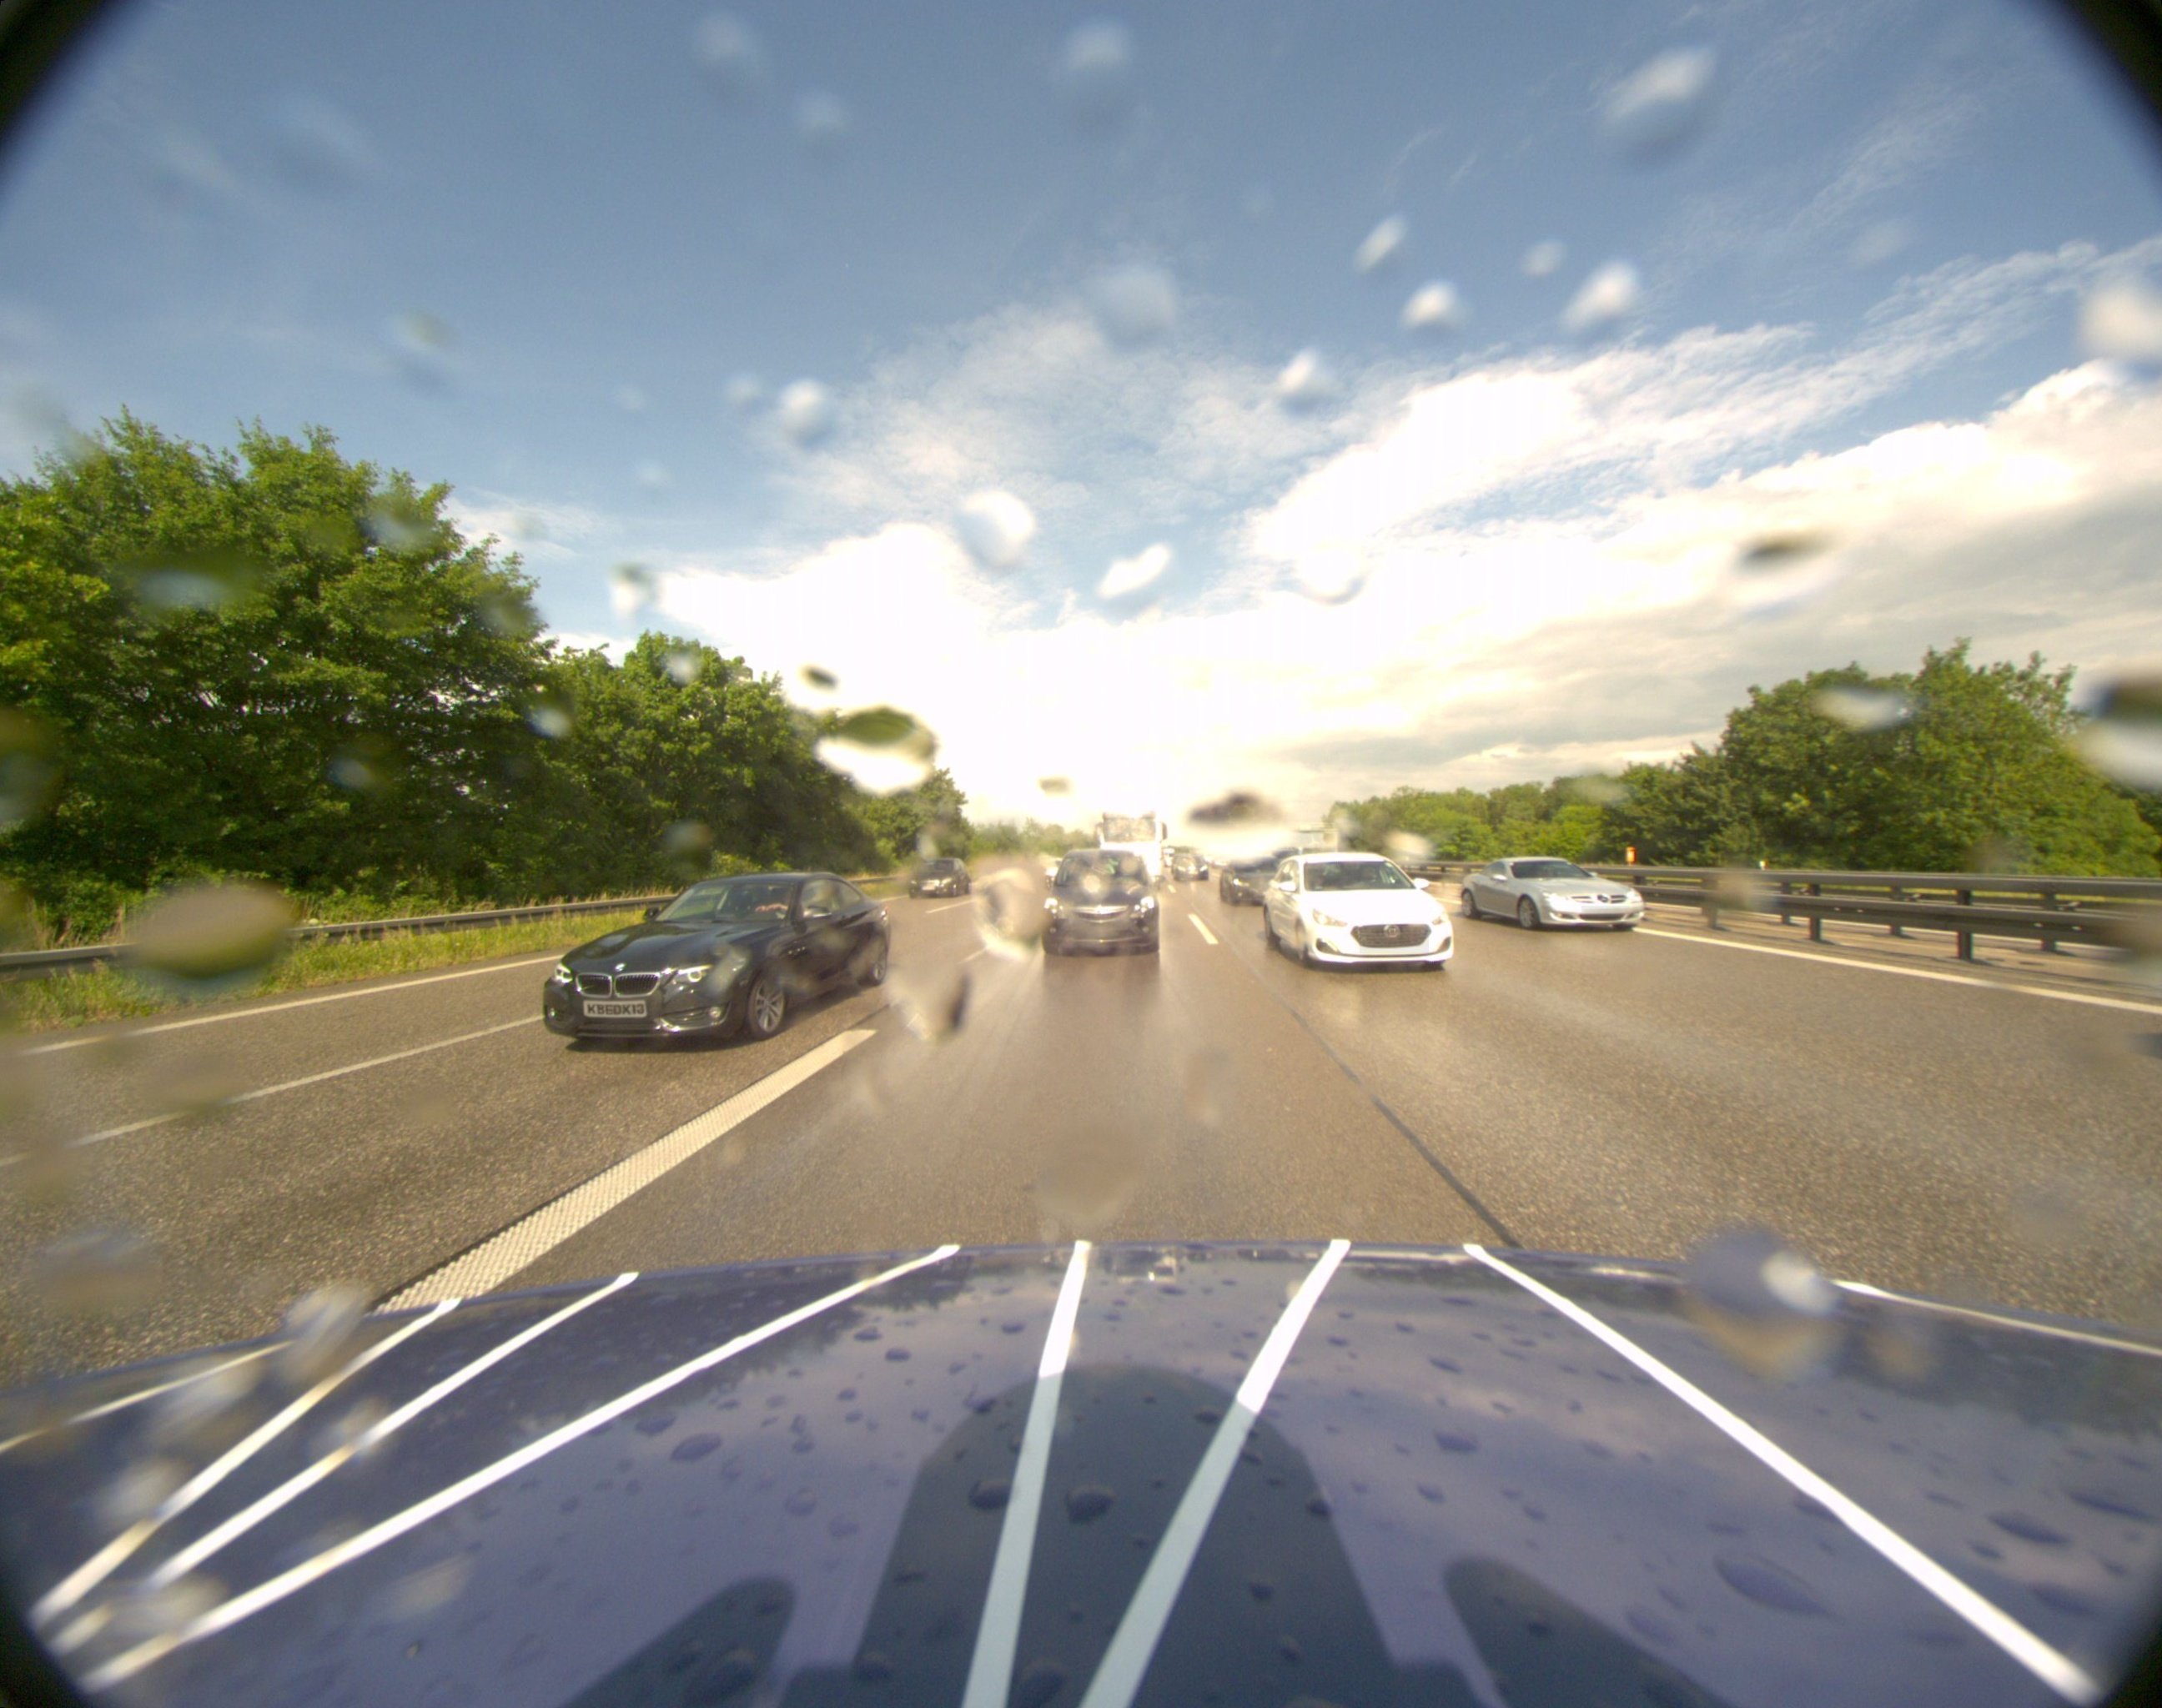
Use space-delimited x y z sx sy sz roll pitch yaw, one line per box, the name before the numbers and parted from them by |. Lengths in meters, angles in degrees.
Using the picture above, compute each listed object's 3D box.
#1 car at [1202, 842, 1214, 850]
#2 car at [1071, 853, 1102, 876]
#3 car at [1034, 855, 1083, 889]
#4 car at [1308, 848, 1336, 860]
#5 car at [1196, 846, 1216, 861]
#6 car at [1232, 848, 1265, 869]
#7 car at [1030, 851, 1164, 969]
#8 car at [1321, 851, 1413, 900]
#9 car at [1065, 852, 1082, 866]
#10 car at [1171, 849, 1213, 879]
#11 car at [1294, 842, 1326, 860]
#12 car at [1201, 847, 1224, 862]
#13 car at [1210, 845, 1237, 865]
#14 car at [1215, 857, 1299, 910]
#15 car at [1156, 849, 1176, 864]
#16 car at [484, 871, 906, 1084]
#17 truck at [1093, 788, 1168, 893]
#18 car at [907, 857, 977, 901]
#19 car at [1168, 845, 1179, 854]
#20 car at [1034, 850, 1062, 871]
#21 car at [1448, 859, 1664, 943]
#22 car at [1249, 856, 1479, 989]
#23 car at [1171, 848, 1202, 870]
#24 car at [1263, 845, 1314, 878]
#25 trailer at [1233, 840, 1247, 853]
car | 26.764 -1.699 160.134 1.998 1.768 4.462 -1 0 4
car | 0.427 0.738 57.042 1.998 1.572 4.654 -1 0 4
car | -1.021 0.812 36.836 1.830 1.417 4.512 -2 1 5
car | 30.771 0.021 97.021 2.122 1.478 5.037 -1 0 2
car | 15.594 -0.041 94.596 1.998 1.687 4.000 -3 1 4
car | 12.241 0.330 55.813 1.771 1.371 4.000 -1 1 4
car | 0.374 0.804 13.072 1.883 1.638 4.397 -1 0 4
car | 9.360 0.646 25.172 1.770 1.417 4.139 -2 1 5
car | -0.903 0.587 93.402 1.998 1.619 4.000 -1 0 1
car | 6.263 0.545 43.157 1.998 1.477 4.000 -3 1 4
car | 23.172 -0.287 76.925 1.998 1.697 4.155 -1 0 1
car | 14.529 0.012 84.160 1.998 1.471 4.000 -3 1 4
car | 13.411 0.081 71.628 1.998 1.739 4.000 -3 1 4
car | 5.048 0.783 22.321 1.728 1.330 4.288 -1 0 4
car | 9.574 0.229 86.090 1.998 1.471 4.000 -3 1 4
car | -3.443 0.982 7.891 1.852 1.455 4.257 -1 1 6
truck | 2.315 -0.570 33.802 2.816 4.083 7.448 -2 1 6
car | -5.558 0.960 30.892 1.852 1.559 4.001 -1 1 4
car | 18.576 -0.971 152.728 1.998 1.687 4.000 -3 1 4
car | -2.680 0.526 62.722 1.824 1.611 4.364 -2 0 4
car | 8.638 0.774 14.285 1.728 1.270 4.064 -1 0 4
car | 3.746 0.796 10.984 1.885 1.446 4.549 -1 0 4
car | 8.187 0.375 59.171 1.998 1.471 4.000 -3 1 4
car | 10.961 0.353 40.405 1.874 1.597 4.230 -1 1 5
trailer | 43.678 -2.047 209.331 2.736 3.362 9.564 -1 0 5
